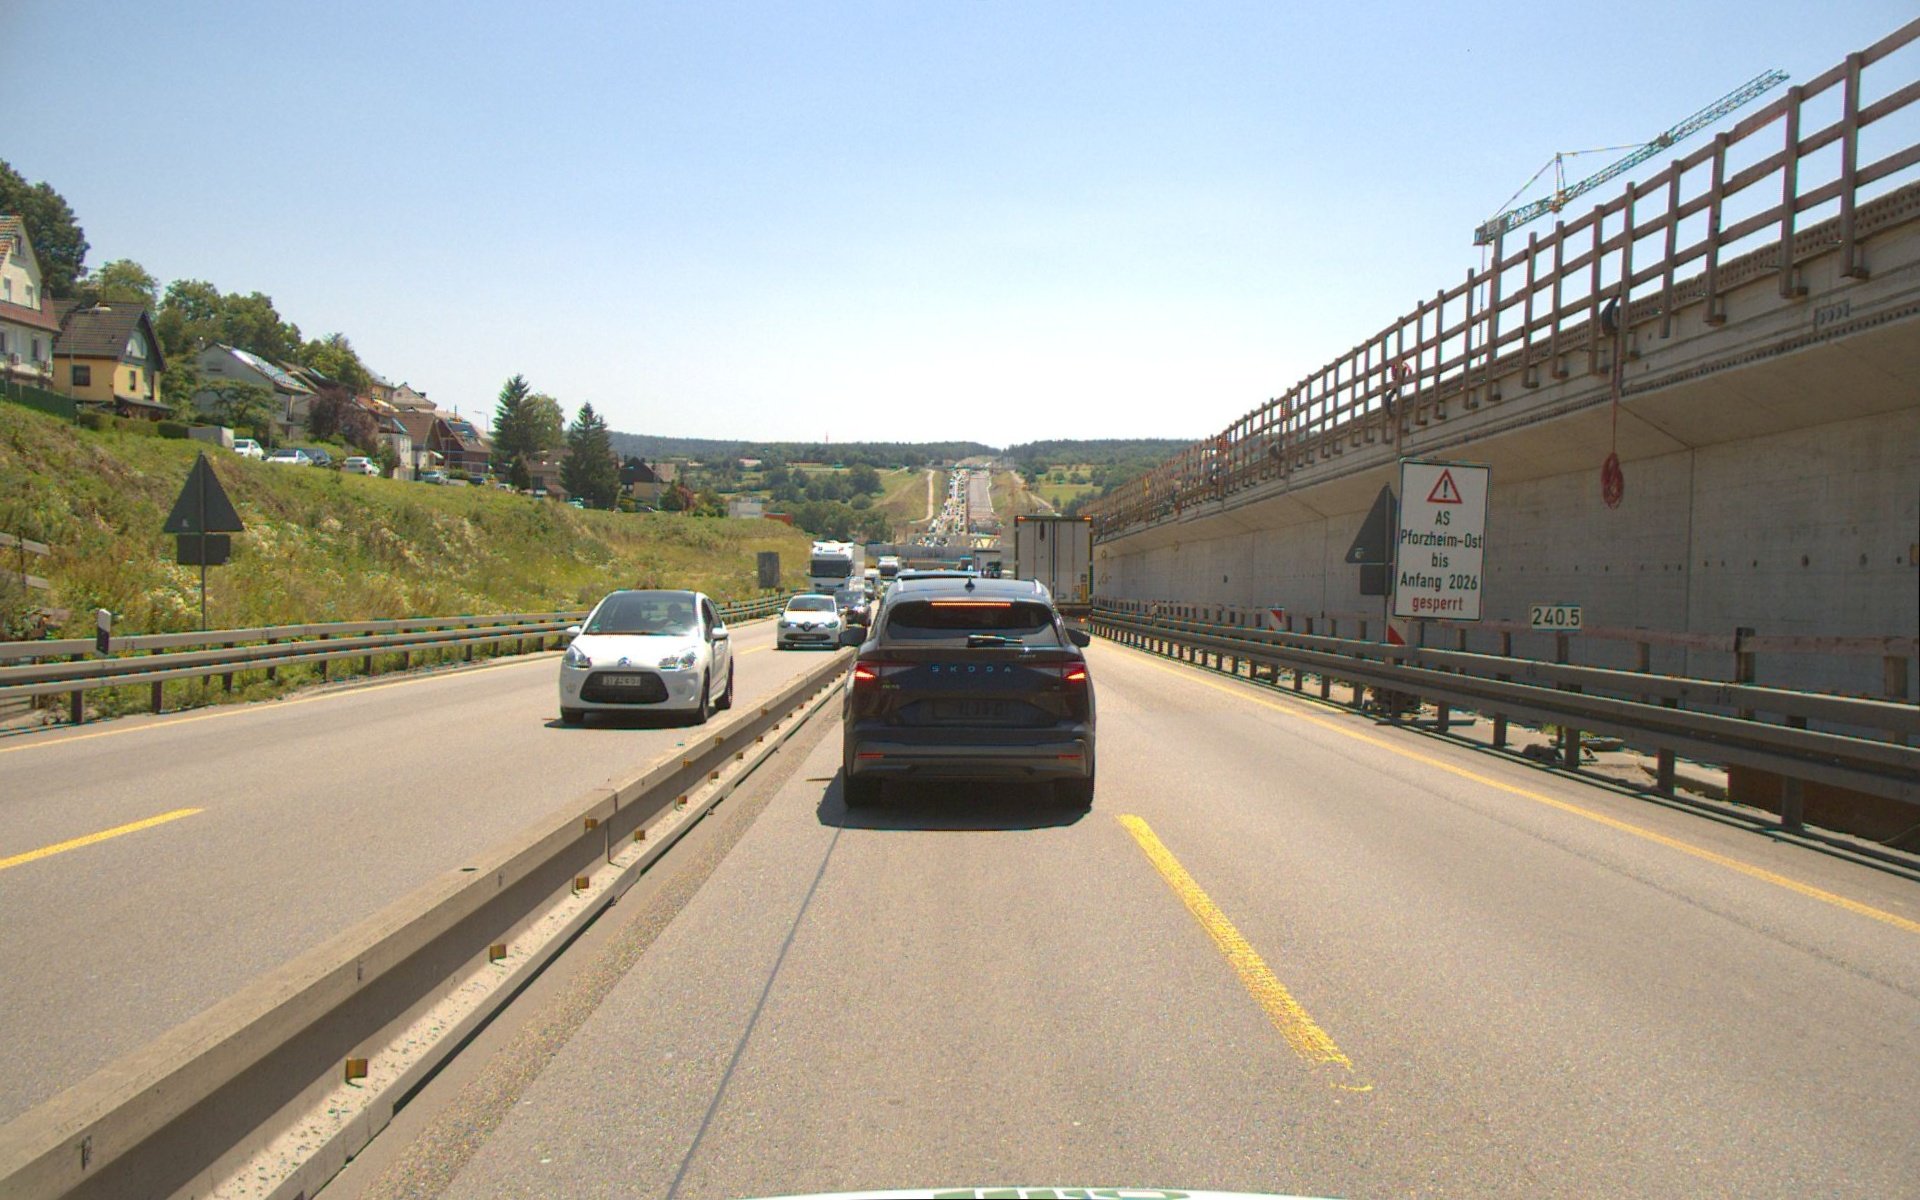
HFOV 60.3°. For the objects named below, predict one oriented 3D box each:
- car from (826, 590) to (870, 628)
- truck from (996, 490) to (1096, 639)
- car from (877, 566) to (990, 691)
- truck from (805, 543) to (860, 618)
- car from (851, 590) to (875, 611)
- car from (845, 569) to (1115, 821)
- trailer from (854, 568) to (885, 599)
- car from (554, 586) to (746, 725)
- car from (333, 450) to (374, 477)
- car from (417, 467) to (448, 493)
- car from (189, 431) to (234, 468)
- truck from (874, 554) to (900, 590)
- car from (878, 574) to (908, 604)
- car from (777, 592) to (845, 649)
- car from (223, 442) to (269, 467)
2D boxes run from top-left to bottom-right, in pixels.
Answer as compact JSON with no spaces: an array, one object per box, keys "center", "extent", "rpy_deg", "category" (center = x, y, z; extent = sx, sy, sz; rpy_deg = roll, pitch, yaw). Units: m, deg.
[{"center":[-4.842,0.356,71.898],"extent":[1.665,1.588,4.102],"rpy_deg":[0,0,-1],"category":"car"},{"center":[2.884,-1.063,58.886],"extent":[2.788,4.696,11.809],"rpy_deg":[1,-1,0],"category":"truck"},{"center":[-0.520,0.460,28.536],"extent":[1.715,1.928,3.753],"rpy_deg":[3,0,-3],"category":"car"},{"center":[-7.638,-1.081,99.315],"extent":[3.117,4.312,6.479],"rpy_deg":[1,-1,-4],"category":"truck"},{"center":[-8.165,0.051,139.840],"extent":[1.712,1.612,3.999],"rpy_deg":[4,-1,-1],"category":"car"},{"center":[0.077,0.622,12.653],"extent":[1.747,1.625,3.754],"rpy_deg":[1,0,-2],"category":"car"},{"center":[-8.033,-1.464,147.724],"extent":[2.434,2.659,5.867],"rpy_deg":[0,-1,0],"category":"trailer"},{"center":[-3.663,0.606,20.178],"extent":[1.731,1.512,3.864],"rpy_deg":[1,0,-2],"category":"car"},{"center":[-41.412,-9.284,112.941],"extent":[1.958,1.342,3.989],"rpy_deg":[4,-1,-11],"category":"car"},{"center":[-42.229,-9.602,132.506],"extent":[1.890,1.758,3.989],"rpy_deg":[1,0,-11],"category":"car"},{"center":[-36.868,-7.386,81.547],"extent":[1.703,1.422,3.778],"rpy_deg":[3,0,-21],"category":"car"},{"center":[-8.835,-3.376,201.835],"extent":[2.697,4.301,8.099],"rpy_deg":[1,1,0],"category":"truck"},{"center":[-4.251,-0.725,105.528],"extent":[1.739,1.852,4.433],"rpy_deg":[1,0,-1],"category":"car"},{"center":[-4.076,0.536,45.582],"extent":[1.657,1.512,3.748],"rpy_deg":[1,0,-2],"category":"car"},{"center":[-37.167,-7.565,86.153],"extent":[1.255,1.057,3.270],"rpy_deg":[0,0,-6],"category":"car"}]
